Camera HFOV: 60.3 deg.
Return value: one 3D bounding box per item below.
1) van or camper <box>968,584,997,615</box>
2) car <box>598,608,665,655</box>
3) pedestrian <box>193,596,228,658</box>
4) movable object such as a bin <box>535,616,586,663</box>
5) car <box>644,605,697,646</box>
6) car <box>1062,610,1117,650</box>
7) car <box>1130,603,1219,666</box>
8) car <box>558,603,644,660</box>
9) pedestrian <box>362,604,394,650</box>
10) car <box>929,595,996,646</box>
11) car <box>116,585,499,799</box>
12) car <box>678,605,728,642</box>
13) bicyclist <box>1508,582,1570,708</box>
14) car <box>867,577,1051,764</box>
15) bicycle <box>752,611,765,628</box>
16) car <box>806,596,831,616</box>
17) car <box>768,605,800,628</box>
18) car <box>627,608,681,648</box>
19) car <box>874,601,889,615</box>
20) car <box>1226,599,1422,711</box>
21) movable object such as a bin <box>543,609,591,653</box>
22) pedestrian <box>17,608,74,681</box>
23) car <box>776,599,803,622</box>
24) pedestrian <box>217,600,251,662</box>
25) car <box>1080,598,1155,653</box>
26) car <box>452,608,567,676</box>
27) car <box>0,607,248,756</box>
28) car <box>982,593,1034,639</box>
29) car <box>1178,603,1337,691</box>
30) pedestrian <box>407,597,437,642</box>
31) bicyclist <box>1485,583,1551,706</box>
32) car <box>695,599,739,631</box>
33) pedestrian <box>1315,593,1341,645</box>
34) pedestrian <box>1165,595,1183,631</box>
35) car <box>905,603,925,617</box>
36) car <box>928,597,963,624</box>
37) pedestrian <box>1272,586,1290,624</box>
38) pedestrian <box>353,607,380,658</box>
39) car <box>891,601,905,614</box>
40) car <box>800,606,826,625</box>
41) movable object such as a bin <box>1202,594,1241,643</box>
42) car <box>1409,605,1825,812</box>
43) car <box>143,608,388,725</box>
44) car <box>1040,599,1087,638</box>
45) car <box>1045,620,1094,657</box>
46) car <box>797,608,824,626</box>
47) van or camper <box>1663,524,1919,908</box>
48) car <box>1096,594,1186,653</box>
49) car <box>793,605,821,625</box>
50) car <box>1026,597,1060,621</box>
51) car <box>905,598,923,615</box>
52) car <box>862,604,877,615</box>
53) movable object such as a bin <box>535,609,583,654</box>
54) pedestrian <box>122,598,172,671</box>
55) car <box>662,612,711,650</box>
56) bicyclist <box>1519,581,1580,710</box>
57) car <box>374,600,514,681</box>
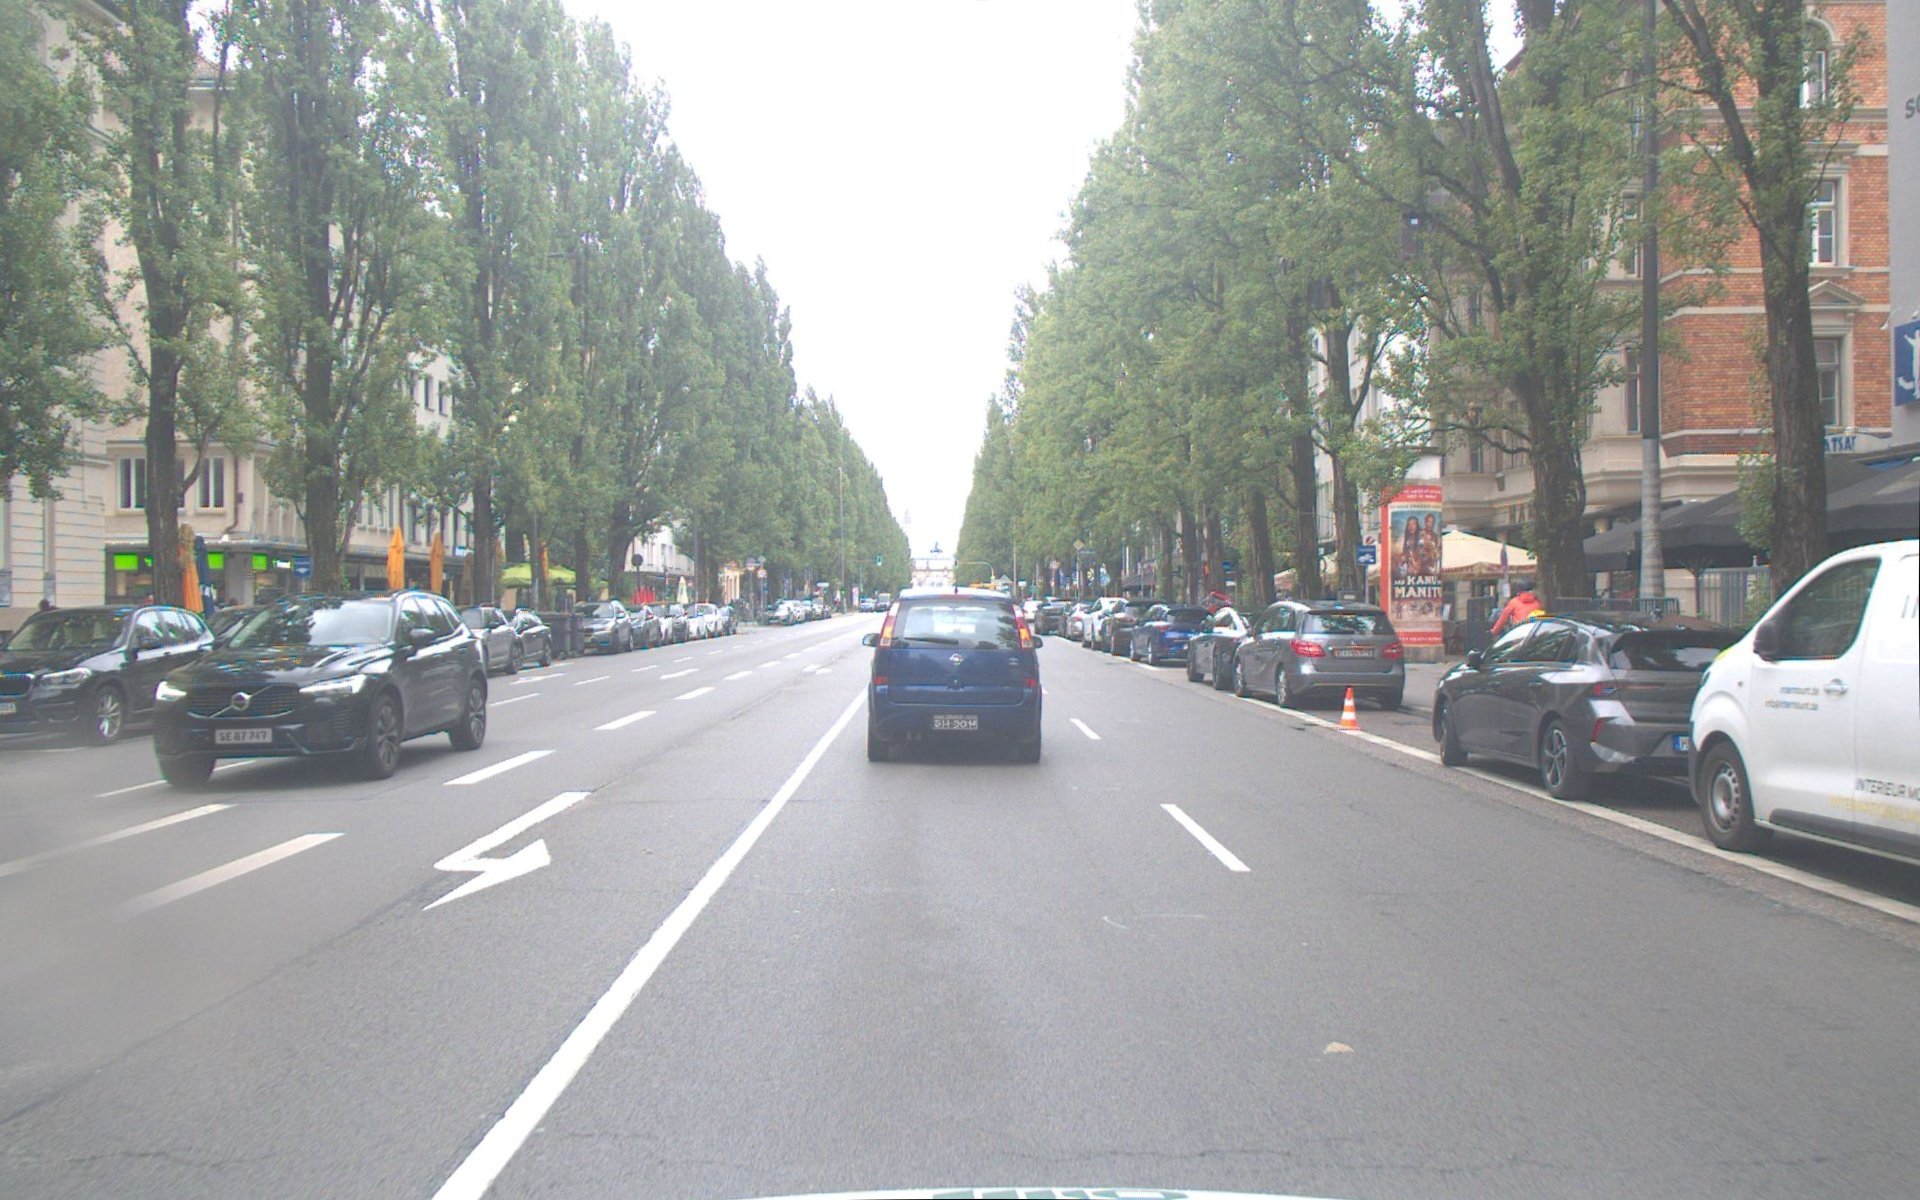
[{"bbox_3d":[1.930,-0.001,145.166,2.426,2.626,5.843,-1,0,-1],"label":"van or camper"},{"bbox_3d":[-11.525,1.077,58.285,1.663,1.577,4.080,-1,0,-2],"label":"car"},{"bbox_3d":[-21.423,0.764,47.271,0.612,1.752,0.826,-1,0,-2],"label":"pedestrian"},{"bbox_3d":[-11.480,1.141,47.611,1.251,1.333,0.901,0,0,-1],"label":"movable object such as a bin"},{"bbox_3d":[-11.720,1.011,67.193,1.805,1.592,4.174,-1,0,-6],"label":"car"},{"bbox_3d":[4.893,1.126,62.827,1.636,1.431,4.126,1,0,-2],"label":"car"},{"bbox_3d":[5.192,0.803,40.545,1.713,1.430,4.465,-1,0,2],"label":"car"},{"bbox_3d":[-11.543,0.974,53.489,1.827,1.683,4.614,-3,0,-2],"label":"car"},{"bbox_3d":[-22.714,1.028,64.591,0.834,1.775,1.148,0,0,0],"label":"pedestrian"},{"bbox_3d":[0.044,0.609,51.696,1.953,1.524,3.999,-1,0,-2],"label":"car"},{"bbox_3d":[-5.883,0.746,15.552,1.896,1.651,4.335,-2,0,-1],"label":"car"},{"bbox_3d":[-11.688,1.049,75.340,1.798,1.573,4.084,-1,0,-3],"label":"car"},{"bbox_3d":[7.501,0.577,21.427,0.609,1.616,0.481,-1,0,-2],"label":"bicyclist"},{"bbox_3d":[-0.069,0.632,16.884,1.647,1.670,3.999,0,0,-2],"label":"car"},{"bbox_3d":[-12.466,1.198,102.163,0.652,1.023,2.460,-1,0,-4],"label":"bicycle"},{"bbox_3d":[-12.621,0.554,147.323,1.953,1.691,3.999,-1,0,-2],"label":"car"},{"bbox_3d":[-11.458,1.054,107.886,1.793,1.445,3.810,0,0,-1],"label":"car"},{"bbox_3d":[-11.667,1.058,63.168,1.598,1.453,2.982,-1,0,-2],"label":"car"},{"bbox_3d":[-10.491,1.073,221.269,1.798,1.770,3.777,-1,0,-1],"label":"car"},{"bbox_3d":[5.426,0.777,25.204,1.781,1.532,4.229,-1,0,-4],"label":"car"},{"bbox_3d":[-12.024,0.944,50.669,1.287,1.340,0.819,0,0,-2],"label":"movable object such as a bin"},{"bbox_3d":[-19.798,0.955,35.808,0.753,1.564,0.804,1,-1,-1],"label":"pedestrian"},{"bbox_3d":[-12.234,0.752,118.830,1.620,1.589,3.456,0,0,-1],"label":"car"},{"bbox_3d":[-20.771,0.872,47.324,0.612,1.752,0.826,-1,0,-2],"label":"pedestrian"},{"bbox_3d":[4.960,0.768,52.650,1.790,1.649,4.746,1,0,-2],"label":"car"},{"bbox_3d":[-11.253,1.020,41.602,1.629,1.530,4.313,-3,0,0],"label":"car"},{"bbox_3d":[-10.916,0.931,20.975,1.783,1.646,4.715,0,0,-1],"label":"car"},{"bbox_3d":[1.743,0.596,60.656,1.671,1.601,3.999,1,-1,-1],"label":"car"},{"bbox_3d":[5.291,0.790,30.041,1.840,1.457,4.802,-1,0,-2],"label":"car"},{"bbox_3d":[-21.451,0.757,65.945,0.834,1.775,1.148,0,0,0],"label":"pedestrian"},{"bbox_3d":[7.480,0.583,22.192,0.609,1.616,0.753,-1,0,-2],"label":"bicyclist"},{"bbox_3d":[-11.815,0.715,80.660,1.553,1.472,3.391,0,0,1],"label":"car"},{"bbox_3d":[13.188,0.675,59.295,0.714,1.834,0.931,-1,0,-1],"label":"pedestrian"},{"bbox_3d":[9.681,0.583,74.812,0.640,1.655,0.704,0,0,-4],"label":"pedestrian"},{"bbox_3d":[-4.563,0.982,167.338,1.922,1.424,3.777,-1,0,-1],"label":"car"},{"bbox_3d":[-0.853,0.588,97.184,1.953,1.524,3.999,0,0,-2],"label":"car"},{"bbox_3d":[14.108,0.237,72.692,0.641,1.655,0.704,-1,0,-4],"label":"pedestrian"},{"bbox_3d":[-20.779,1.130,57.899,0.612,1.752,0.827,-1,0,1],"label":"pedestrian"},{"bbox_3d":[-8.181,1.043,219.628,1.798,1.706,3.777,-1,0,-1],"label":"car"},{"bbox_3d":[-12.505,1.339,140.827,1.922,1.576,3.777,-1,0,-1],"label":"car"},{"bbox_3d":[9.331,0.652,58.978,1.012,1.733,1.585,-1,0,-5],"label":"movable object such as a bin"},{"bbox_3d":[5.432,0.808,14.340,1.685,1.467,4.351,2,0,-3],"label":"car"},{"bbox_3d":[-10.872,0.978,26.283,1.765,1.622,4.632,-1,0,2],"label":"car"},{"bbox_3d":[4.521,0.786,72.711,1.761,1.622,4.103,1,0,-1],"label":"car"},{"bbox_3d":[4.488,1.572,68.209,1.648,1.439,3.582,1,0,-2],"label":"car"},{"bbox_3d":[-12.351,1.365,136.708,1.922,1.424,3.777,-1,0,-1],"label":"car"},{"bbox_3d":[5.696,0.582,8.722,1.830,1.916,4.902,0,0,-1],"label":"van or camper"},{"bbox_3d":[5.120,0.643,47.228,1.953,1.592,4.482,-1,0,-2],"label":"car"},{"bbox_3d":[-12.119,1.185,131.048,1.922,1.557,3.998,-1,0,-2],"label":"car"},{"bbox_3d":[4.990,0.523,99.852,1.858,1.386,3.899,-1,0,-1],"label":"car"},{"bbox_3d":[-4.842,0.683,174.405,1.798,1.792,3.777,-1,0,-1],"label":"car"},{"bbox_3d":[-12.404,1.292,227.638,1.922,1.576,3.777,-1,0,-1],"label":"car"},{"bbox_3d":[-12.055,0.947,49.753,1.234,1.340,0.825,0,0,-2],"label":"movable object such as a bin"},{"bbox_3d":[-19.361,0.807,39.386,0.719,1.702,0.952,0,0,-1],"label":"pedestrian"},{"bbox_3d":[-11.728,1.313,71.153,1.540,1.561,2.923,-1,0,1],"label":"car"},{"bbox_3d":[7.505,0.574,21.079,0.609,1.616,0.391,-1,0,-2],"label":"bicyclist"},{"bbox_3d":[-10.961,0.821,35.412,1.746,1.603,4.131,0,0,-1],"label":"car"}]
